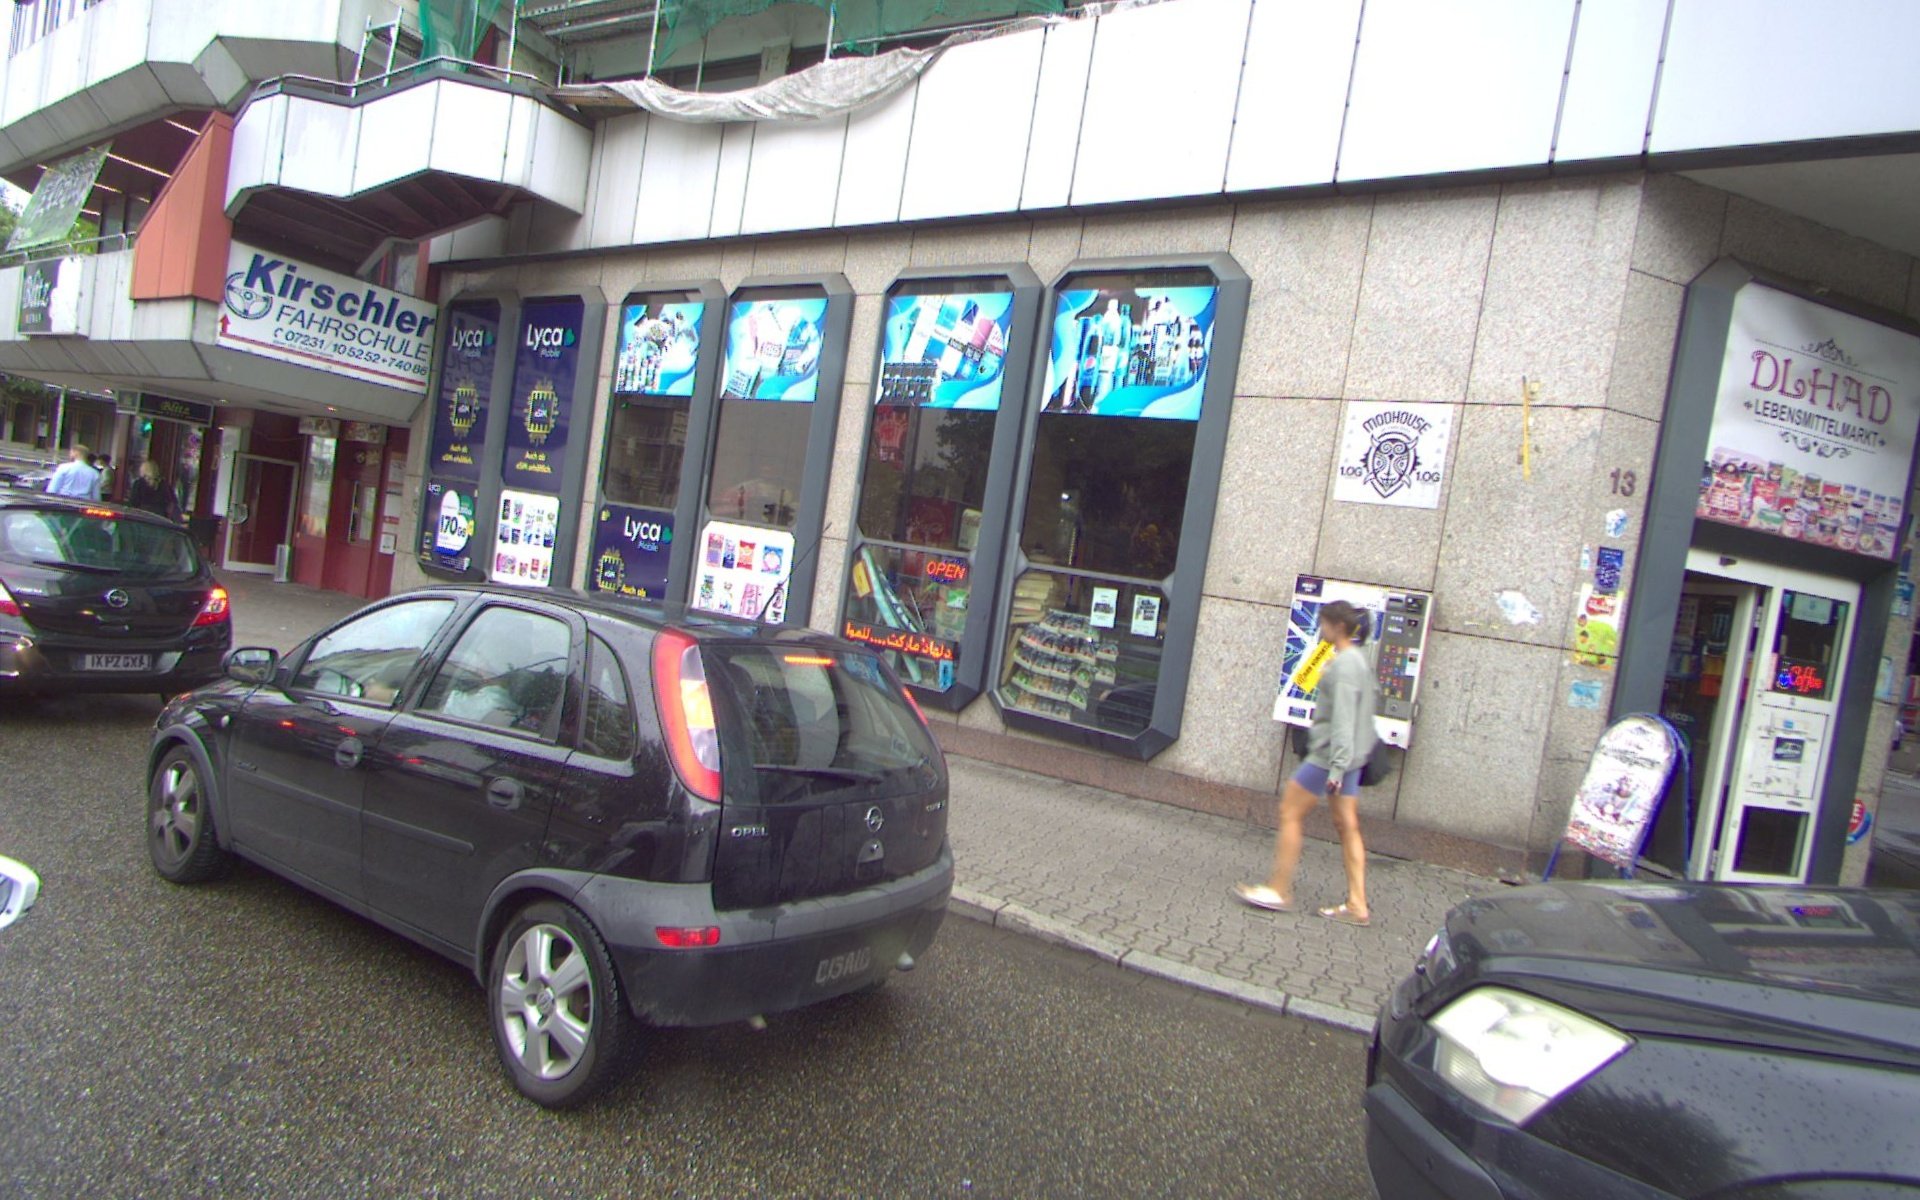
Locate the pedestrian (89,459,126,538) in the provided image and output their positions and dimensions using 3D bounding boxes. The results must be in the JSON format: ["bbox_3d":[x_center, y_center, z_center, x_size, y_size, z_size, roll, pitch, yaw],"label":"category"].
[{"bbox_3d":[-18.617,-2.210,21.963,0.496,1.660,0.396,6,1,32],"label":"pedestrian"}]

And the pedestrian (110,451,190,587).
[{"bbox_3d":[-12.171,-1.198,15.119,0.629,1.961,0.736,6,4,31],"label":"pedestrian"}]

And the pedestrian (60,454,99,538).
[{"bbox_3d":[-18.670,-2.208,21.330,0.443,1.704,0.426,6,1,30],"label":"pedestrian"}]

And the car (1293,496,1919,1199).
[{"bbox_3d":[2.804,1.019,1.435,4.094,1.786,1.763,8,-1,32],"label":"car"}]

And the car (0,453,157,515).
[{"bbox_3d":[-28.163,-3.647,31.997,1.808,1.226,3.690,5,-3,36],"label":"car"}]

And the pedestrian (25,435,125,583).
[{"bbox_3d":[-12.545,-1.276,14.269,0.629,1.957,0.737,6,-1,31],"label":"pedestrian"}]

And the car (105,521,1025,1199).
[{"bbox_3d":[-1.754,0.647,4.119,3.563,1.446,1.609,8,-1,33],"label":"car"}]

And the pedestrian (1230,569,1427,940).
[{"bbox_3d":[2.052,0.783,5.581,0.760,1.841,0.741,6,4,30],"label":"pedestrian"}]

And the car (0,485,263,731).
[{"bbox_3d":[-7.074,-0.109,7.364,3.776,1.446,1.620,8,-1,29],"label":"car"}]
